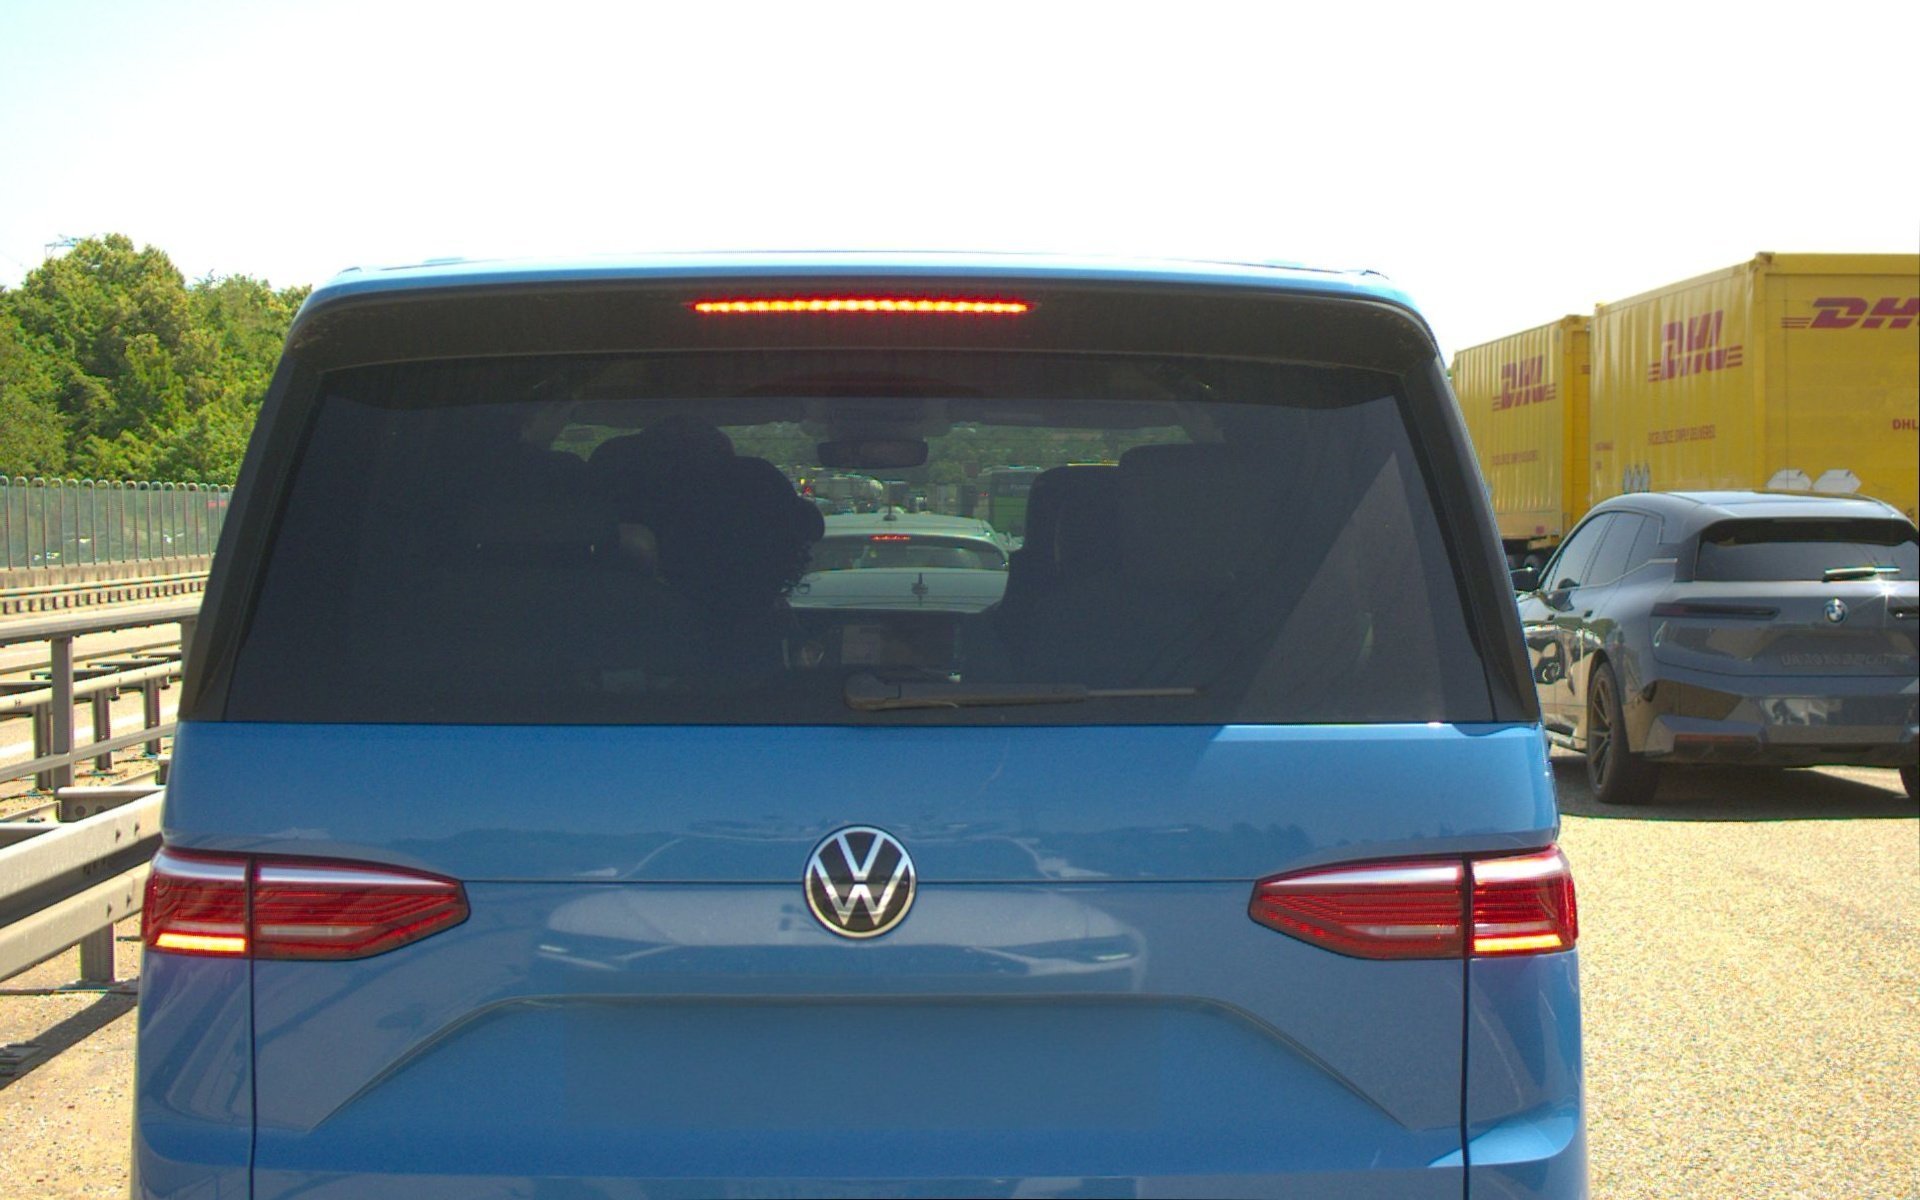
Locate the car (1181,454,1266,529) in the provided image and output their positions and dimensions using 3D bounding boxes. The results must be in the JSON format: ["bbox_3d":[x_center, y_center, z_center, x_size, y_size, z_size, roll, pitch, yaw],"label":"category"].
[{"bbox_3d":[7.330,-3.008,95.989,1.993,2.007,4.461,-1,1,0],"label":"car"}]

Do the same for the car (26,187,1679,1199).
[{"bbox_3d":[-0.143,0.443,5.857,1.820,1.851,4.075,1,1,0],"label":"car"}]

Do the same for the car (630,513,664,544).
[{"bbox_3d":[-22.994,-5.244,252.692,2.082,2.142,4.312,-2,2,0],"label":"car"}]

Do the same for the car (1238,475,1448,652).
[{"bbox_3d":[4.479,-0.453,40.768,1.962,1.986,4.293,0,1,-1],"label":"car"}]

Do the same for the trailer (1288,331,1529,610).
[{"bbox_3d":[7.823,-2.227,61.496,2.637,4.501,11.302,1,1,-1],"label":"trailer"}]

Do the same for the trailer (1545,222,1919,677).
[{"bbox_3d":[8.523,-1.470,36.670,2.864,4.224,9.012,1,1,-1],"label":"trailer"}]

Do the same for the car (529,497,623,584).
[{"bbox_3d":[-9.955,-1.571,89.420,1.863,2.123,4.268,-3,1,0],"label":"car"}]

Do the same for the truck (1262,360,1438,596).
[{"bbox_3d":[7.741,-2.377,69.018,2.667,4.469,6.850,1,1,0],"label":"truck"}]

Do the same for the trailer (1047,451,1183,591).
[{"bbox_3d":[3.488,-1.788,79.573,2.569,2.980,10.663,1,1,0],"label":"trailer"}]

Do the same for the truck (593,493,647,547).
[{"bbox_3d":[-20.862,-4.882,211.352,2.518,3.100,8.724,-4,1,-1],"label":"truck"}]

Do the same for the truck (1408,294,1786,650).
[{"bbox_3d":[8.343,-1.638,46.666,2.836,4.228,11.011,1,1,-1],"label":"truck"}]

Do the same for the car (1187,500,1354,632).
[{"bbox_3d":[4.404,-0.510,49.368,1.993,1.809,4.000,0,1,-1],"label":"car"}]

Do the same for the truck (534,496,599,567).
[{"bbox_3d":[-19.396,-3.370,169.602,2.497,3.354,5.834,-2,1,-1],"label":"truck"}]

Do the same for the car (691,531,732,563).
[{"bbox_3d":[-11.784,-2.533,163.139,1.619,1.459,3.702,-2,1,0],"label":"car"}]

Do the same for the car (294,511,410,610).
[{"bbox_3d":[-14.434,-0.965,81.812,1.993,2.208,4.268,-3,1,-1],"label":"car"}]

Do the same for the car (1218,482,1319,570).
[{"bbox_3d":[7.309,-1.747,81.723,1.993,2.007,4.000,1,1,0],"label":"car"}]

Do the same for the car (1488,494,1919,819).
[{"bbox_3d":[4.328,0.239,19.489,1.962,1.639,4.293,0,1,-1],"label":"car"}]
